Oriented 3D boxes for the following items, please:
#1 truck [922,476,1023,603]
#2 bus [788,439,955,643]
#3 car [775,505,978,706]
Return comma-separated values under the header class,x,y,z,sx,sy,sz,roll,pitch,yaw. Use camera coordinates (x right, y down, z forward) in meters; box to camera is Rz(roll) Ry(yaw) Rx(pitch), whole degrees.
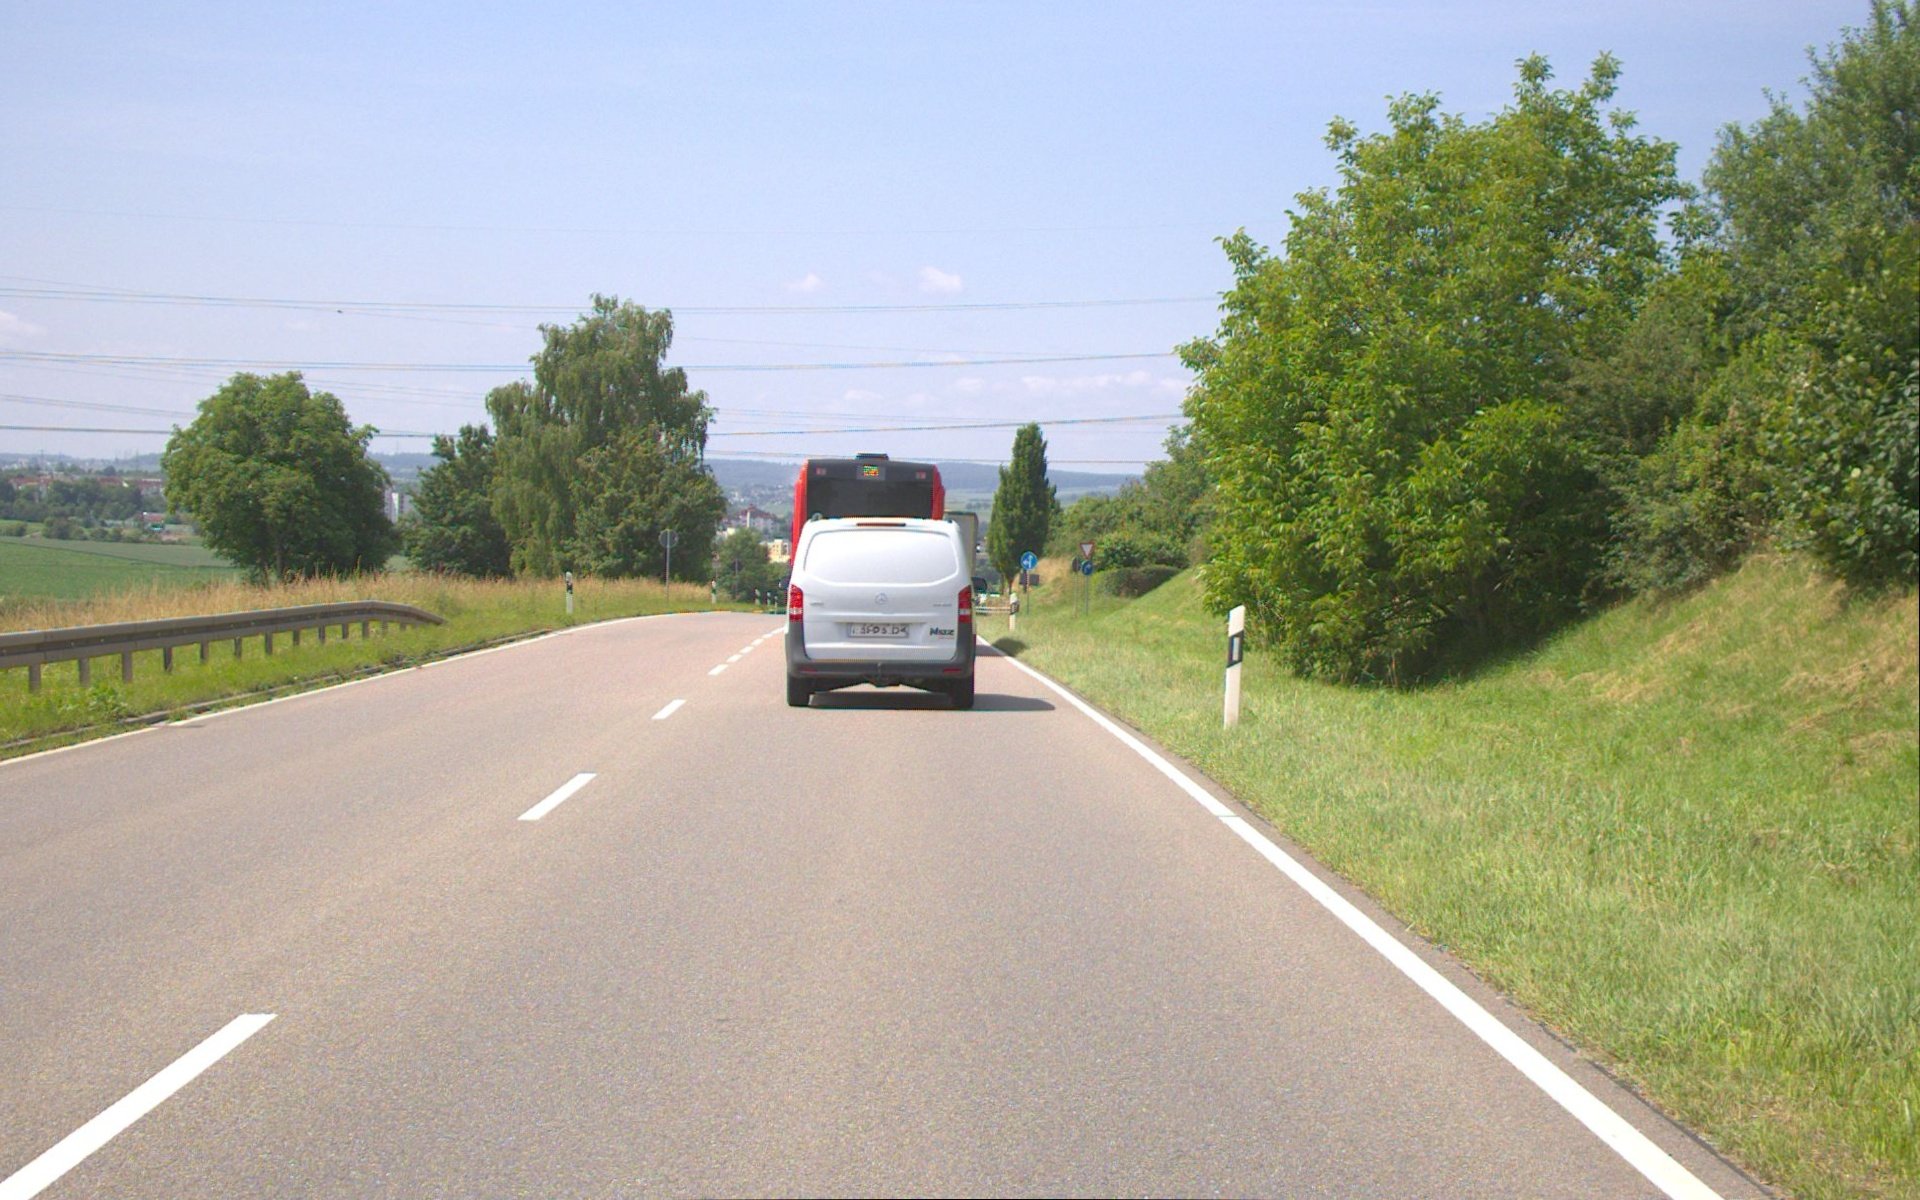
class,x,y,z,sx,sy,sz,roll,pitch,yaw
truck,0.384,-2.181,129.273,3.488,4.408,14.903,1,0,-1
bus,-1.693,-1.166,63.190,2.747,3.342,13.223,0,2,-2
car,-0.826,-0.002,35.246,1.923,1.883,4.001,1,2,0
